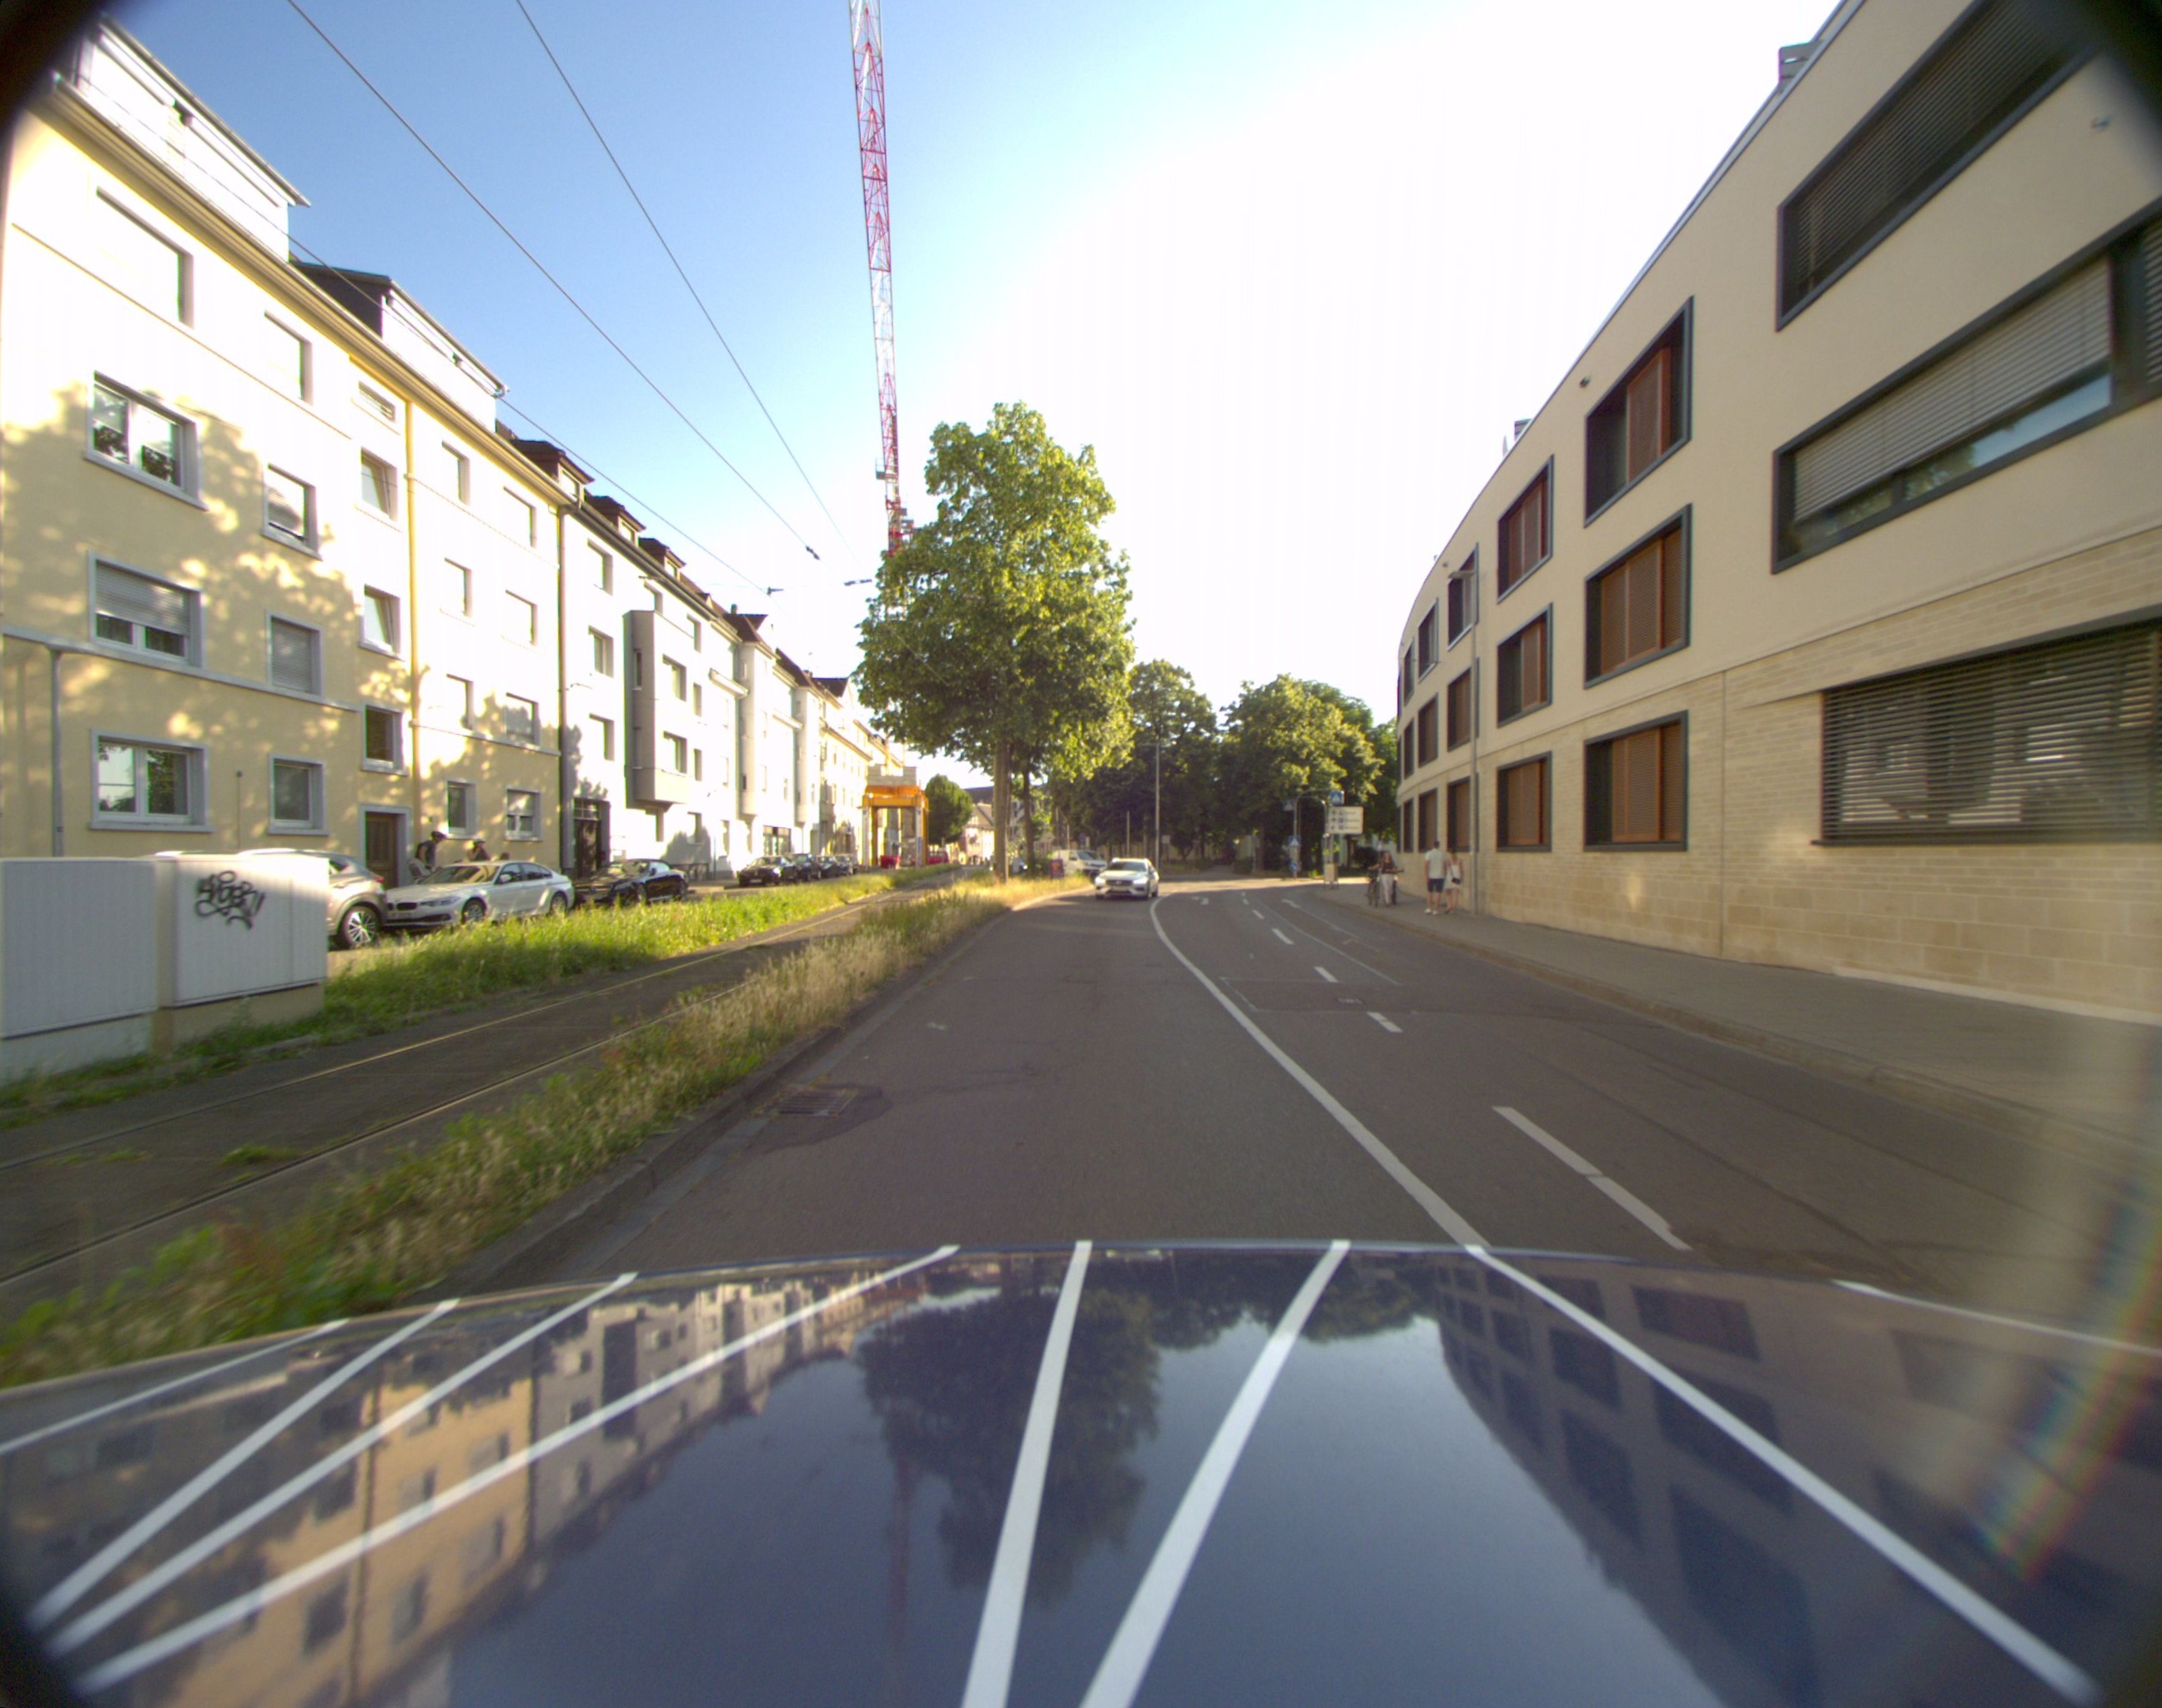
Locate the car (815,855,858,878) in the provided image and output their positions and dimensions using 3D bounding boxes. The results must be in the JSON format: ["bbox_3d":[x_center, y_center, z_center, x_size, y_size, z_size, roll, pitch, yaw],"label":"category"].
[{"bbox_3d":[-16.789,0.860,52.363,2.000,1.444,4.095,1,-1,-6],"label":"car"}]

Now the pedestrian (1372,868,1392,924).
[{"bbox_3d":[9.053,1.247,22.853,0.474,1.638,0.603,2,0,19],"label":"pedestrian"}]

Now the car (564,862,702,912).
[{"bbox_3d":[-13.567,0.945,23.363,2.000,1.378,4.444,1,-1,-7],"label":"car"}]

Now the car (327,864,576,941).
[{"bbox_3d":[-13.125,0.941,16.303,2.000,1.378,4.444,1,-1,-7],"label":"car"}]

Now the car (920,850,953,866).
[{"bbox_3d":[-18.619,0.523,97.991,4.072,1.910,1.999,1,0,-9],"label":"car"}]

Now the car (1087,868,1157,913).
[{"bbox_3d":[1.612,1.257,27.792,1.851,1.455,4.778,1,-1,12],"label":"car"}]

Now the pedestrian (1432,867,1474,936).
[{"bbox_3d":[9.483,1.202,19.397,0.703,1.704,0.843,0,1,7],"label":"pedestrian"}]

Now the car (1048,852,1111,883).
[{"bbox_3d":[-0.154,0.807,47.819,2.003,1.843,4.892,2,-1,-26],"label":"car"}]

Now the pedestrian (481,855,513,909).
[{"bbox_3d":[-15.781,0.747,20.536,0.525,1.432,0.461,1,1,-6],"label":"pedestrian"}]

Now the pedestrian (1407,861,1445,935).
[{"bbox_3d":[8.839,1.114,19.483,0.606,1.838,0.993,0,1,7],"label":"pedestrian"}]

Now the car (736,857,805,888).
[{"bbox_3d":[-15.100,0.875,37.234,2.000,1.378,4.444,1,-1,-7],"label":"car"}]

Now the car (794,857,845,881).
[{"bbox_3d":[-16.250,0.922,47.409,1.999,1.378,4.208,1,-1,-4],"label":"car"}]

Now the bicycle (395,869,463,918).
[{"bbox_3d":[-16.372,0.975,19.115,0.536,1.125,1.514,1,1,-7],"label":"bicycle"}]

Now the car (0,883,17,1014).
[{"bbox_3d":[-12.094,0.964,5.824,2.000,1.378,4.442,1,-1,-10],"label":"car"}]

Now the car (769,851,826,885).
[{"bbox_3d":[-15.727,0.765,42.349,2.000,1.738,4.207,1,-1,-7],"label":"car"}]

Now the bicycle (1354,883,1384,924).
[{"bbox_3d":[8.816,1.483,23.307,0.441,1.171,1.968,0,-1,8],"label":"bicycle"}]

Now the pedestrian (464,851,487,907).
[{"bbox_3d":[-16.448,0.671,20.644,0.305,1.506,0.442,2,0,-14],"label":"pedestrian"}]

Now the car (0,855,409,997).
[{"bbox_3d":[-12.621,0.843,11.019,2.000,1.563,4.638,1,0,-7],"label":"car"}]

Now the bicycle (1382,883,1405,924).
[{"bbox_3d":[9.636,1.504,23.456,0.376,1.160,1.839,-1,-1,14],"label":"bicycle"}]

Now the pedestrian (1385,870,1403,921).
[{"bbox_3d":[9.795,1.297,23.780,0.474,1.555,0.603,0,0,18],"label":"pedestrian"}]

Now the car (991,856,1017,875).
[{"bbox_3d":[-6.457,0.930,63.372,2.000,1.510,4.069,1,-1,-8],"label":"car"}]

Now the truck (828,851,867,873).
[{"bbox_3d":[-17.604,0.601,57.477,2.000,1.576,4.095,1,-1,-6],"label":"truck"}]

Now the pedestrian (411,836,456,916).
[{"bbox_3d":[-16.506,0.555,19.376,0.613,2.002,0.649,1,1,-6],"label":"pedestrian"}]
